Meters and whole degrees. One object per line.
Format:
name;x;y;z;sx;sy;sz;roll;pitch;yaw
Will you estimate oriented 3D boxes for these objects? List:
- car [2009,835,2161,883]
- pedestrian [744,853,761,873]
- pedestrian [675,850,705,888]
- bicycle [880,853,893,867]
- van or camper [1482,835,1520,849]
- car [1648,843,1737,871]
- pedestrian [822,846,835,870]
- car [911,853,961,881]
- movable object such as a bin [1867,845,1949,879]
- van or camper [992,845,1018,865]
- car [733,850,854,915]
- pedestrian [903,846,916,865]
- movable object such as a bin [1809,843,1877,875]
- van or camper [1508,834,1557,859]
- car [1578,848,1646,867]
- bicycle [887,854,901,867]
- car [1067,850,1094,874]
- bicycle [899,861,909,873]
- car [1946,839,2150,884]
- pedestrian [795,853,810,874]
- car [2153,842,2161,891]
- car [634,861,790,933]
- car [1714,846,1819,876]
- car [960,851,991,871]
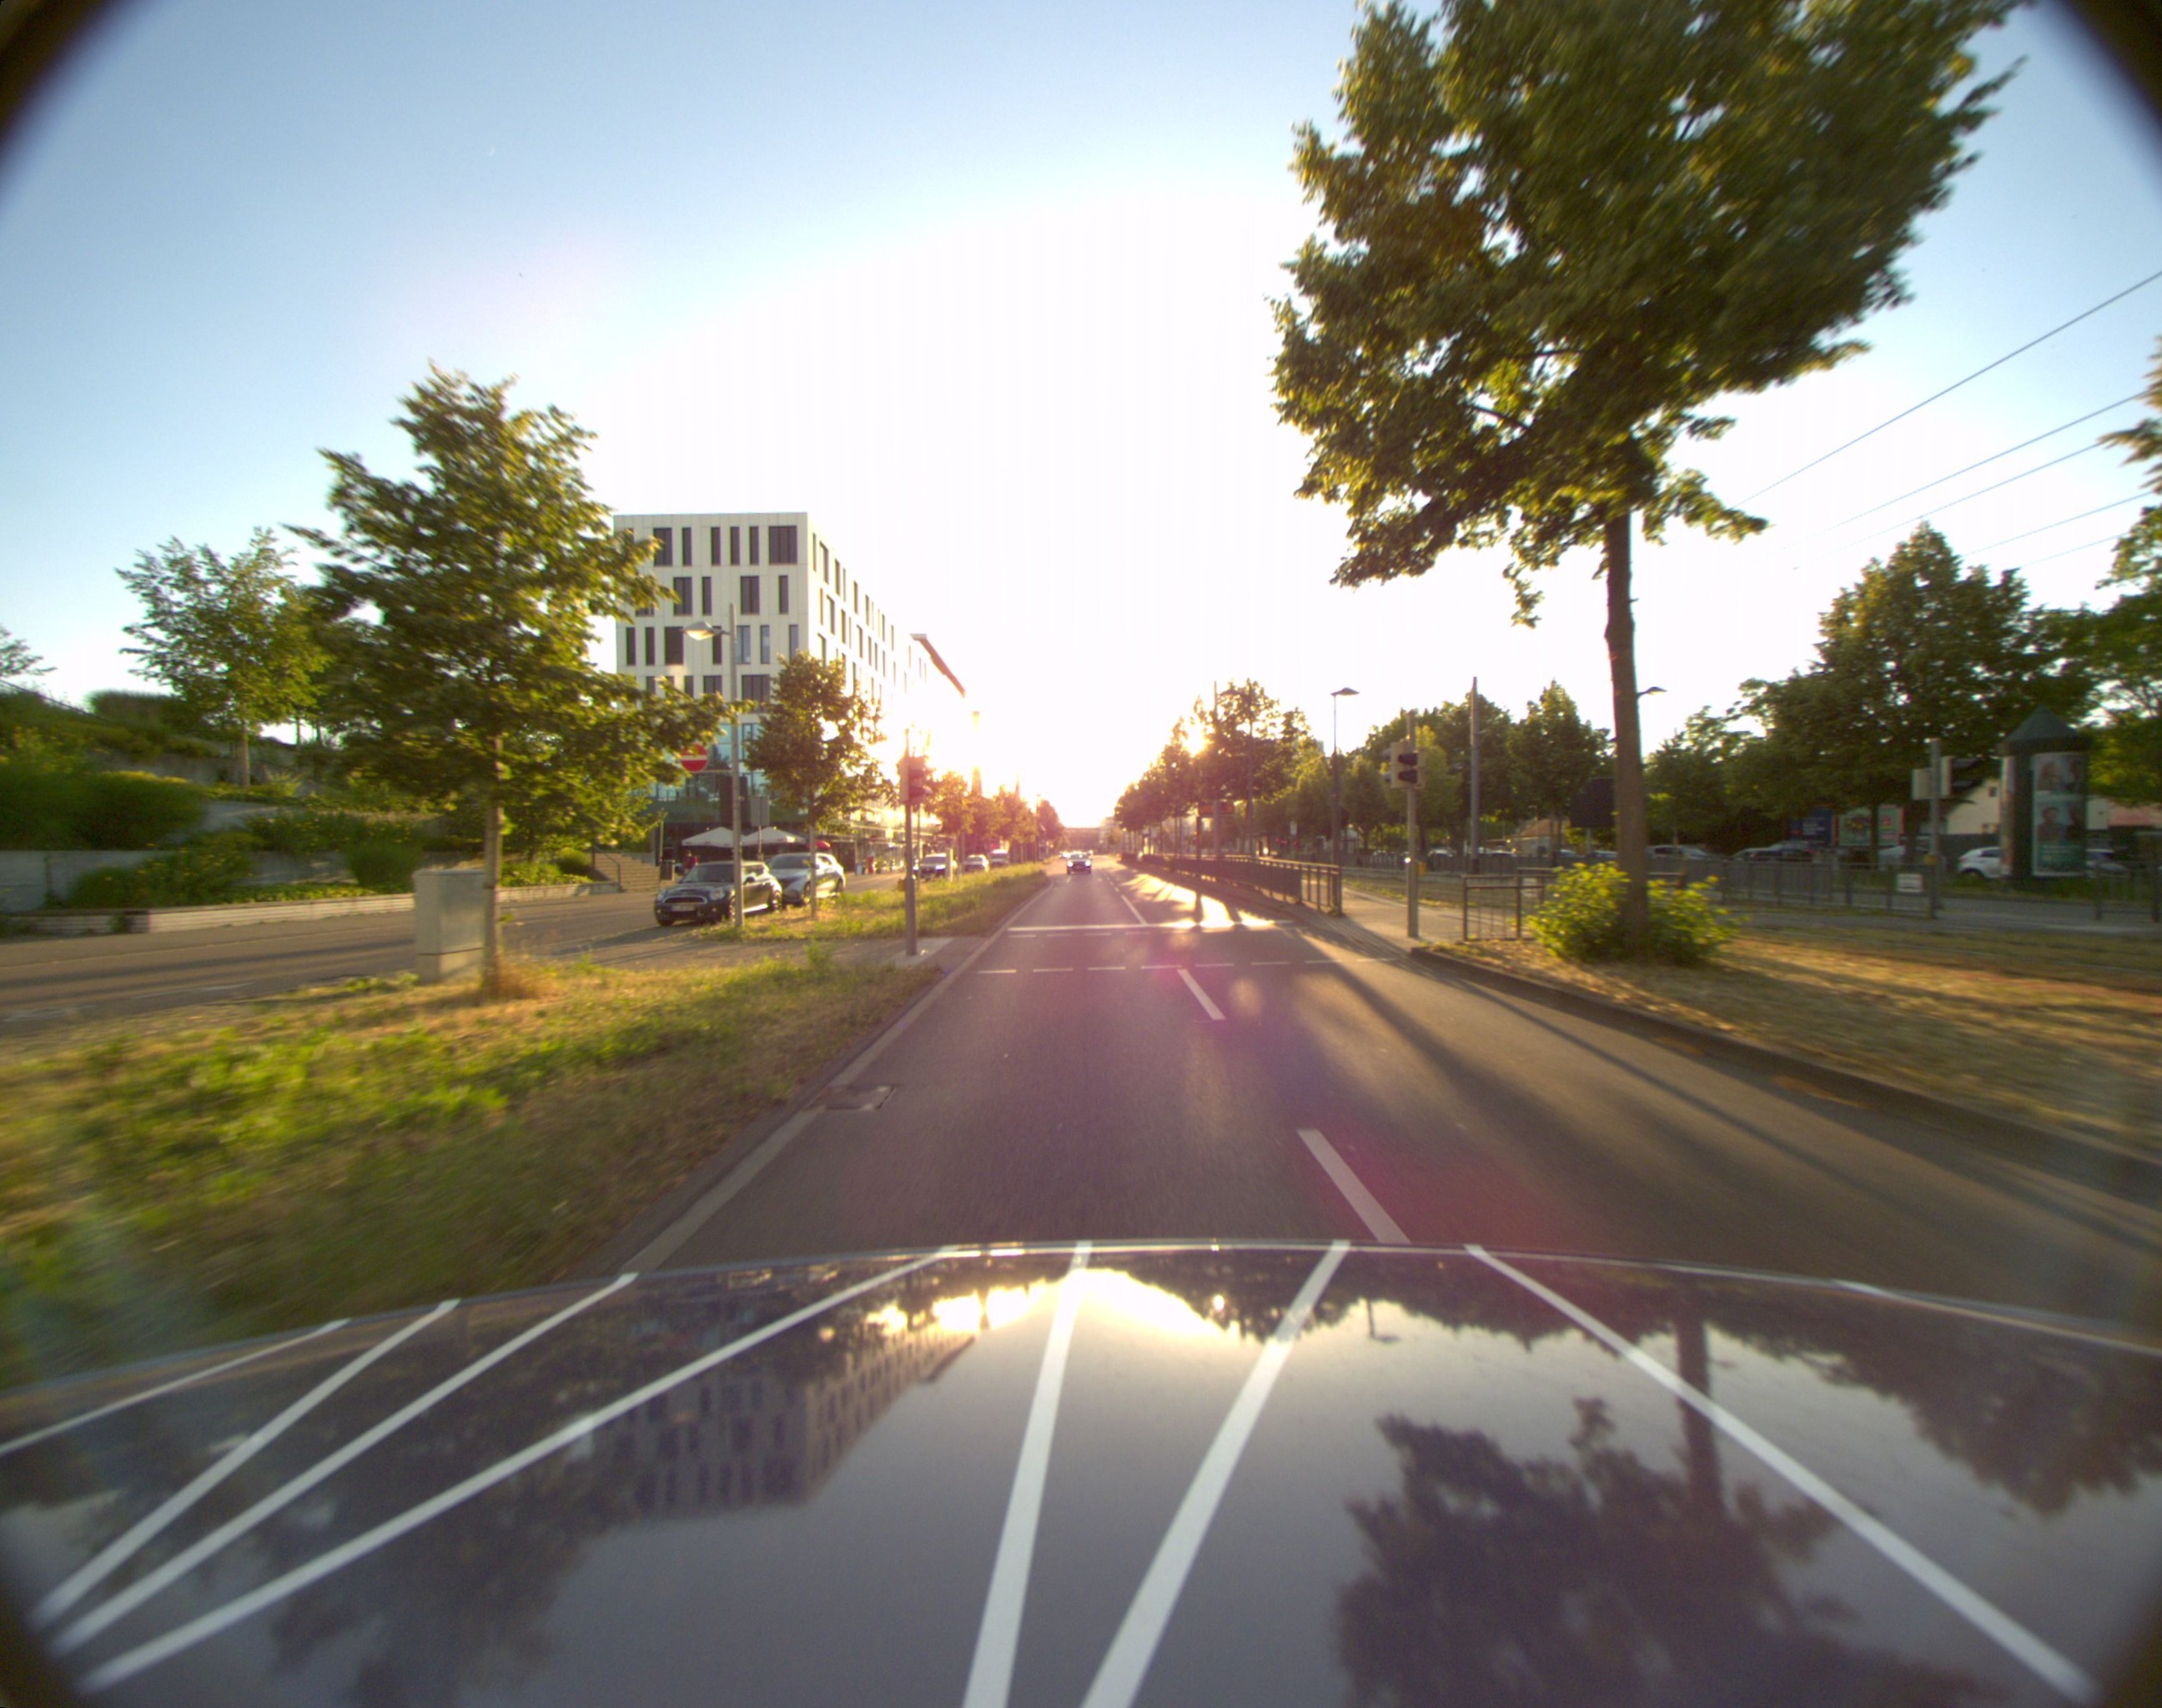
car;44.405;0.196;33.577;1.998;2.002;4.001;0;1;5
pedestrian;-21.195;0.561;49.064;0.745;1.258;0.770;-1;1;1
pedestrian;-17.019;0.635;33.072;0.696;1.645;1.078;-1;1;0
bicycle;-15.466;0.455;60.536;0.641;1.126;1.872;1;0;-3
van or camper;66.522;-1.957;120.418;4.881;2.002;2.001;-2;1;11
car;36.485;0.163;45.520;1.998;1.576;4.297;-1;1;2
pedestrian;-19.219;0.313;57.845;0.661;1.749;0.685;2;1;18
car;-8.594;0.746;45.596;1.924;1.492;5.410;-1;1;0
movable object such as a bin;34.579;0.300;31.817;1.556;1.364;1.724;-1;1;2
van or camper;-7.763;0.074;77.834;1.963;1.908;4.829;-2;1;1
car;-8.533;0.765;23.059;1.813;1.622;4.675;-4;1;0
pedestrian;-17.274;0.121;76.514;1.029;1.872;0.947;-1;1;-1
movable object such as a bin;34.797;0.211;34.737;1.412;1.403;1.701;-1;1;2
van or camper;48.640;-0.836;81.997;2.396;2.548;5.635;0;1;7
car;36.924;0.209;52.969;1.998;1.194;4.089;-1;1;2
bicycle;-15.495;0.509;62.917;0.685;1.057;2.072;1;0;-2
car;-0.042;0.521;54.022;1.828;1.625;3.999;-1;1;0
bicycle;-15.185;1.109;65.231;0.598;1.035;2.072;1;0;-6
car;34.727;0.229;27.517;1.998;1.492;4.299;-1;1;2
pedestrian;-18.101;0.620;49.370;0.745;1.360;0.770;-1;1;-11
car;34.248;0.403;21.616;1.814;1.522;4.053;-1;1;2
car;-8.617;0.940;18.169;1.754;1.390;3.999;-2;1;0
car;35.704;0.315;39.742;1.998;1.440;4.000;-1;1;2
car;-8.308;0.505;60.285;1.813;1.492;4.478;-1;1;0
